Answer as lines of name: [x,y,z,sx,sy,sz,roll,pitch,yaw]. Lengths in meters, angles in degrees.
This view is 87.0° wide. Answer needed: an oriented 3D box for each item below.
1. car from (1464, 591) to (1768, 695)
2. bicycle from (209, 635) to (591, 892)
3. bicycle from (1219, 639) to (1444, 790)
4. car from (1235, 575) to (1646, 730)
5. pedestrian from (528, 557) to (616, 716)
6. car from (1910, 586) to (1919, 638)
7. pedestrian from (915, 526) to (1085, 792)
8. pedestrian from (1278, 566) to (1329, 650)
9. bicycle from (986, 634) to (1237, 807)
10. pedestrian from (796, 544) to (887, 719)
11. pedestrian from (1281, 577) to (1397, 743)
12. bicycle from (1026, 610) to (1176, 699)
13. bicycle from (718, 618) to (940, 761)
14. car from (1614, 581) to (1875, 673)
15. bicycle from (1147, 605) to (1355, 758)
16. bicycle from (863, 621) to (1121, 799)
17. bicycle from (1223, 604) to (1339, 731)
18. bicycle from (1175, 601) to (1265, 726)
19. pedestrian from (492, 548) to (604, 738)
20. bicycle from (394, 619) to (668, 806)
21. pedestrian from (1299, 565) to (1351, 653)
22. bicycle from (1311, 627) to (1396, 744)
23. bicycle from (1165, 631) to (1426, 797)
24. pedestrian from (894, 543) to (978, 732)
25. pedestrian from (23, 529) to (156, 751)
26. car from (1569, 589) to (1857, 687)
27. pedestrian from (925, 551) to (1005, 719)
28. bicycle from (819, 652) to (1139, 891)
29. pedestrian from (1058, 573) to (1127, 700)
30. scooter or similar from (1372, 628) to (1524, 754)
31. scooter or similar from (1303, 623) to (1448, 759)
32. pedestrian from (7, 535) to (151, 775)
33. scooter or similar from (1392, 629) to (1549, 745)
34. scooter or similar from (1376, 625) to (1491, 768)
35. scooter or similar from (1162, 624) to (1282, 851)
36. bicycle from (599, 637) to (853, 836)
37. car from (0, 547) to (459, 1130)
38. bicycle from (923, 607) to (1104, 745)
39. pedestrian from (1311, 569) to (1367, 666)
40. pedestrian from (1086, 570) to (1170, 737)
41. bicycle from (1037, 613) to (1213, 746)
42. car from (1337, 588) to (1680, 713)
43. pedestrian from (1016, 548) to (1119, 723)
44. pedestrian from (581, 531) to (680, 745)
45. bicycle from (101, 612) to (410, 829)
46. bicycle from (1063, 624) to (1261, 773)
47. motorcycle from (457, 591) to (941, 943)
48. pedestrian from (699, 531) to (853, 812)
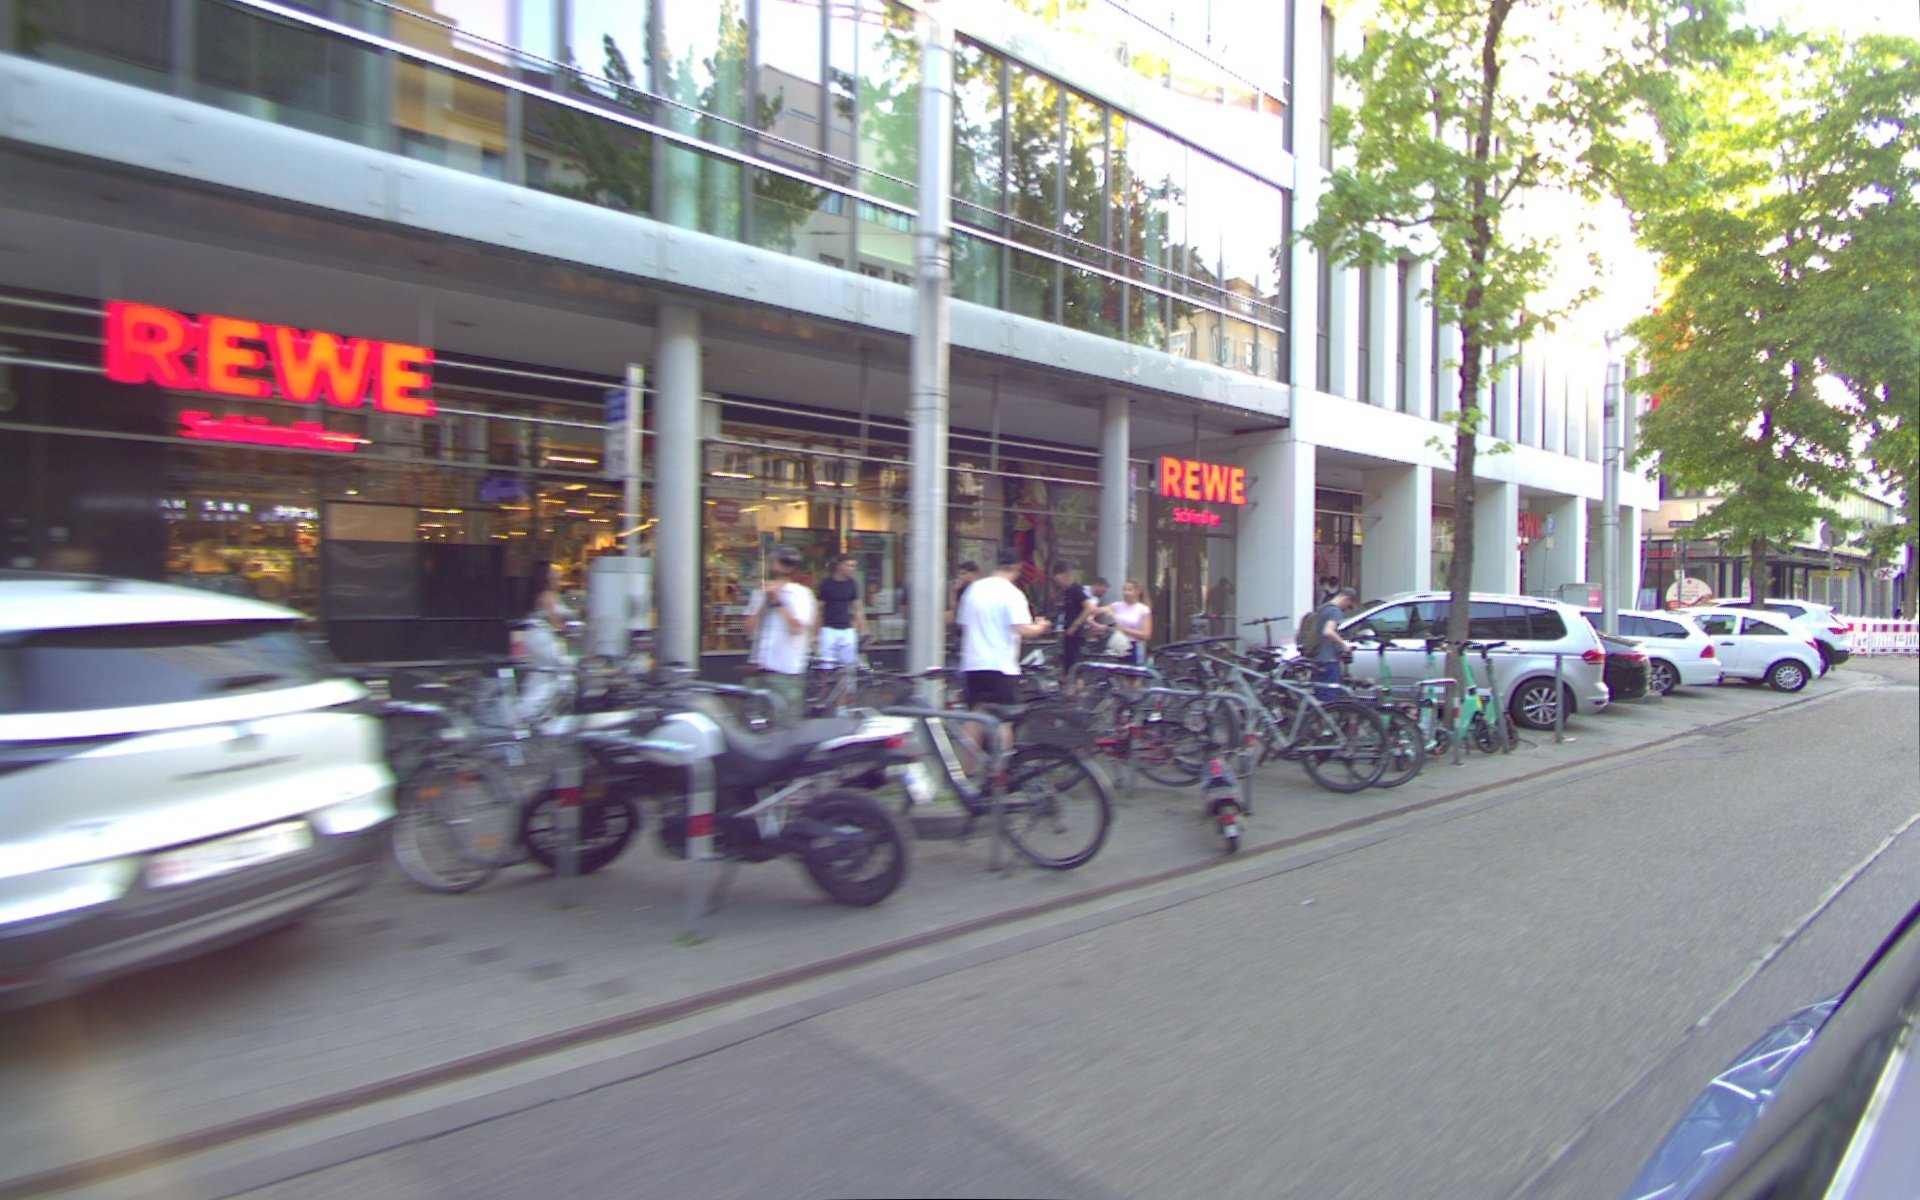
car: [11.459,0.675,18.100,4.311,1.440,1.811,4,2,28]
bicycle: [-3.074,0.821,5.617,1.725,1.131,0.914,2,1,16]
bicycle: [3.158,0.947,8.708,1.727,1.089,0.491,3,1,21]
car: [6.121,0.582,13.561,4.609,1.660,1.947,3,2,15]
pedestrian: [-4.006,0.356,10.449,0.653,1.567,0.681,-1,0,-40]
car: [35.679,0.480,36.013,4.584,1.792,1.999,0,3,-38]
pedestrian: [0.319,0.415,8.053,0.948,1.937,0.850,4,2,39]
pedestrian: [7.158,0.174,21.097,0.791,1.721,0.681,2,-2,-40]
bicycle: [1.180,0.891,7.882,1.810,1.089,0.620,4,1,19]
pedestrian: [-1.297,0.319,11.033,0.703,1.835,0.660,1,2,-35]
pedestrian: [3.973,0.601,10.647,0.753,1.646,0.794,1,1,-21]
bicycle: [1.844,0.698,13.209,1.843,1.096,0.575,1,1,-17]
bicycle: [-1.178,0.760,9.142,1.810,1.108,0.819,2,1,20]
car: [17.488,0.531,22.868,4.231,1.692,1.935,3,3,26]
bicycle: [2.844,0.744,9.975,1.820,1.289,0.673,3,1,32]
bicycle: [0.226,0.819,8.206,1.986,1.162,0.690,4,1,33]
bicycle: [3.598,0.719,11.500,0.628,1.265,1.664,2,1,-4]
bicycle: [3.015,0.696,11.865,0.569,1.304,1.595,2,1,-1]
pedestrian: [-3.948,0.395,9.704,0.791,1.721,0.681,2,-2,-40]
bicycle: [-3.151,0.761,7.449,1.770,1.131,0.838,2,2,21]
pedestrian: [7.309,0.182,20.257,0.791,1.721,0.681,2,-2,-40]
bicycle: [4.362,0.901,11.328,0.622,1.089,1.871,3,1,14]
bicycle: [2.787,0.905,8.524,1.969,1.144,0.676,3,1,21]
pedestrian: [-0.256,0.361,10.222,0.702,1.835,0.661,2,1,-10]
pedestrian: [-7.177,0.305,8.370,0.791,1.720,0.663,-1,0,-40]
car: [14.289,0.660,19.509,4.020,1.519,1.784,3,3,21]
pedestrian: [0.063,0.362,11.222,0.706,1.775,0.729,2,1,12]
bicycle: [0.126,0.941,6.017,1.727,1.131,0.802,2,1,19]
pedestrian: [1.716,0.451,13.184,0.618,1.591,0.765,0,1,-17]
scooter or similar: [5.004,0.915,10.436,1.312,1.196,0.497,1,0,14]
scooter or similar: [4.052,0.857,9.859,1.255,1.220,0.571,1,1,-25]
pedestrian: [-6.746,0.389,7.781,0.791,1.720,0.681,-1,0,-40]
scooter or similar: [5.548,0.932,11.057,1.376,1.164,0.579,2,0,4]
scooter or similar: [4.548,0.885,9.695,1.192,1.237,0.483,0,3,-39]
scooter or similar: [1.756,0.861,6.949,0.686,1.320,1.388,2,1,11]
bicycle: [-1.577,0.861,6.789,1.578,1.046,0.550,5,3,21]
car: [-4.528,0.588,4.238,4.287,1.582,1.867,3,3,18]
bicycle: [0.536,0.716,9.990,1.670,1.204,0.553,3,1,13]
pedestrian: [7.200,0.328,19.231,0.791,1.794,0.681,2,-2,-40]
pedestrian: [1.716,0.526,10.404,0.647,1.644,0.707,2,1,-5]
bicycle: [1.658,0.768,10.304,1.685,1.164,0.495,3,1,36]
car: [8.232,0.657,15.542,4.313,1.440,1.936,4,3,29]
pedestrian: [1.170,0.369,11.210,0.919,1.835,0.888,2,1,-4]
pedestrian: [-2.963,0.319,9.153,0.647,1.835,0.793,2,1,-5]
bicycle: [-4.521,0.687,6.501,1.733,1.131,0.927,2,2,27]
bicycle: [1.812,0.848,9.206,1.674,1.153,0.473,3,1,31]
motorcycle: [-1.241,0.745,5.061,2.167,1.490,0.794,2,0,7]
pedestrian: [-1.281,0.466,7.118,0.806,1.835,0.598,4,1,12]
